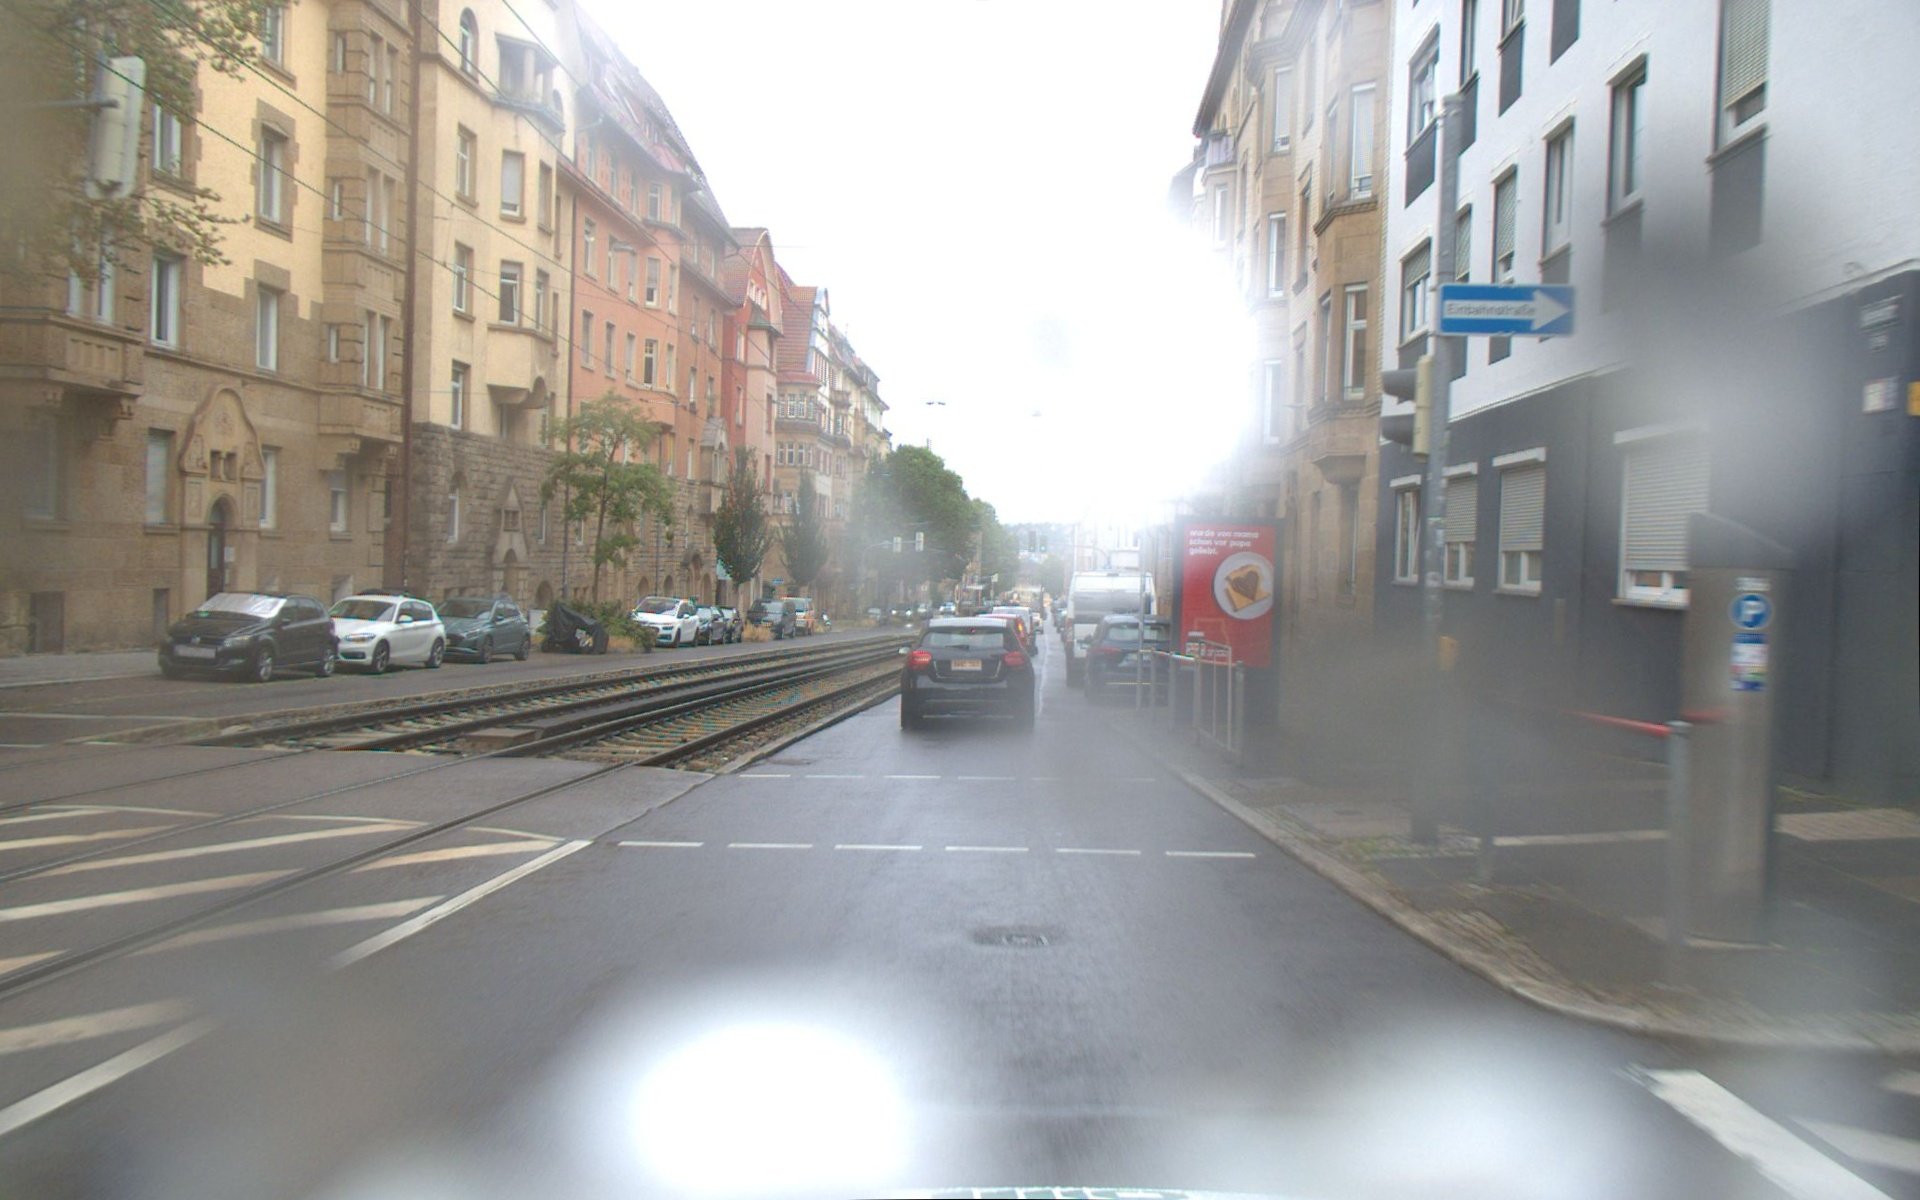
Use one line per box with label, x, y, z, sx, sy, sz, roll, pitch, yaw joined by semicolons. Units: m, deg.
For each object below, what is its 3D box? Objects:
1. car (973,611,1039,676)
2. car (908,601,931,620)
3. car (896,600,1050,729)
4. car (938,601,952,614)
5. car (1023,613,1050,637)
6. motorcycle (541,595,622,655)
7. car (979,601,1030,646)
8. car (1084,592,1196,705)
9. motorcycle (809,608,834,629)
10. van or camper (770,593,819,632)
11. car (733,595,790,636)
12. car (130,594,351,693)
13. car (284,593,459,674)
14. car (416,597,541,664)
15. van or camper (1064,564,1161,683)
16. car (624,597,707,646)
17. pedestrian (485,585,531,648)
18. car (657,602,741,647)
car;1.214;1.092;42.472;1.503;1.536;4.002;2;0;4
car;-4.173;1.065;170.214;1.952;1.825;4.002;2;0;3
car;0.231;0.838;22.496;1.905;1.592;3.643;1;-1;2
car;-1.882;1.003;214.086;1.759;1.575;3.999;2;0;0
car;5.422;1.751;116.573;1.863;1.621;4.001;1;-1;3
motorcycle;-10.787;0.698;47.141;2.221;1.671;1.288;0;-1;-14
car;1.725;0.897;65.270;1.882;1.684;4.000;1;0;0
car;3.190;0.832;29.973;1.732;1.839;4.484;2;0;3
motorcycle;-8.246;1.095;98.511;1.411;1.154;0.618;2;-1;33
van or camper;-8.759;0.661;87.957;1.952;1.934;4.699;2;0;1
car;-9.617;0.747;80.554;1.952;1.935;4.700;1;0;3
car;-12.004;0.716;27.907;1.728;1.512;4.001;1;-1;4
car;-11.597;0.644;32.906;1.632;1.451;4.264;1;-1;5
car;-11.290;0.672;39.049;1.528;1.463;4.147;1;0;3
van or camper;3.447;0.553;38.469;2.021;2.512;6.121;1;-1;3
car;-10.204;0.743;57.589;1.747;1.617;4.353;-1;0;5
pedestrian;-13.274;0.479;48.613;0.986;1.784;0.925;3;0;3
car;-9.965;0.907;63.458;1.952;1.536;4.977;3;0;5
